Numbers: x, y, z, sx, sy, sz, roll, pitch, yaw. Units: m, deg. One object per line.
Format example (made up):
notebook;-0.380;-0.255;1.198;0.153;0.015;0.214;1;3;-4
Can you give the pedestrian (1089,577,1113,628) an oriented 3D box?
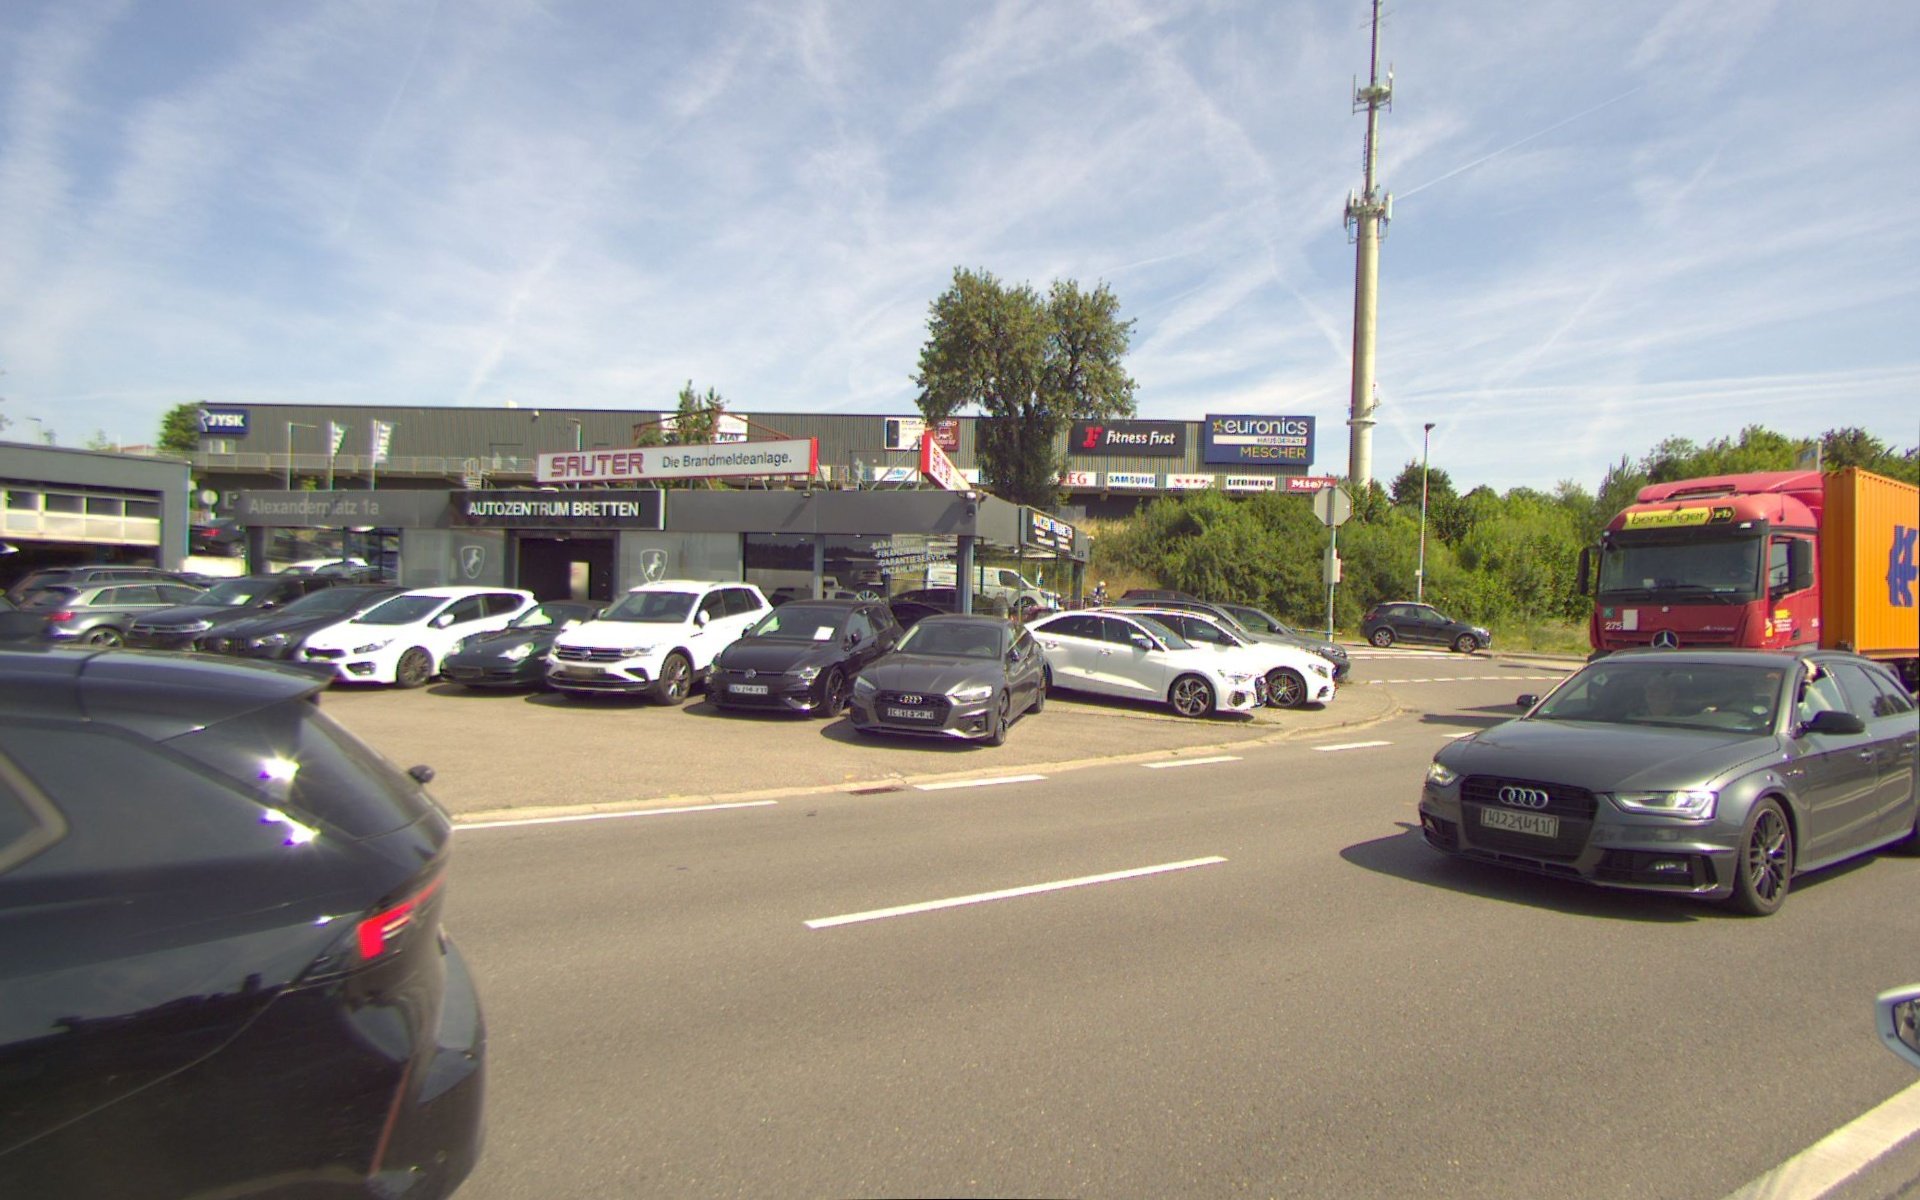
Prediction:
pedestrian;4.374;0.076;31.113;0.492;1.555;0.380;1;5;-42

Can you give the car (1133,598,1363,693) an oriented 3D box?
car;6.365;0.947;22.429;4.647;1.647;1.890;4;2;17

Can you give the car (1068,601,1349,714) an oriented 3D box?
car;4.476;0.949;18.137;4.623;1.533;1.955;4;2;20

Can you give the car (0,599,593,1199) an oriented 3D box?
car;-2.971;0.724;1.472;4.330;1.462;1.703;2;-3;-32

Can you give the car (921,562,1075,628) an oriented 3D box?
car;1.458;-0.222;37.985;5.404;2.069;2.069;4;2;16

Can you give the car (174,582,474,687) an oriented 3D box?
car;-10.887;0.493;17.620;1.779;1.544;4.345;2;1;16

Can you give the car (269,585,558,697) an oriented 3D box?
car;-8.785;0.560;16.598;1.791;1.544;4.144;2;1;16

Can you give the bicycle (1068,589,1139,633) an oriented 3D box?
bicycle;4.394;0.317;30.919;0.587;1.042;2.193;1;6;-42

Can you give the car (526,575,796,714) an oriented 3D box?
car;-4.382;0.550;15.554;1.855;1.772;4.470;2;1;16

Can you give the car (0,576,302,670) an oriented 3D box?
car;-15.405;0.365;19.348;1.855;1.544;4.344;2;1;19

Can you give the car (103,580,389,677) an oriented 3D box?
car;-12.972;0.438;18.590;1.774;1.544;4.099;2;1;16

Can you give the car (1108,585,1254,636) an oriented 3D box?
car;7.870;0.380;35.765;4.874;1.437;1.950;4;0;16

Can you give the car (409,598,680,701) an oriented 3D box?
car;-6.529;0.692;16.363;1.728;1.346;4.345;2;1;16

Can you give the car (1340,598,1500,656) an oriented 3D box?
car;15.304;0.855;33.702;4.543;1.548;1.916;4;2;16

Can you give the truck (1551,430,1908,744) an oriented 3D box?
truck;12.177;-0.097;15.764;5.995;4.051;2.704;2;-1;-34

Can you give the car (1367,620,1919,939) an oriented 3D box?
car;5.033;0.916;6.848;4.535;1.544;1.852;1;-1;-31

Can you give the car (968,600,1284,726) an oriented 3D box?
car;2.652;0.901;16.230;4.629;1.495;1.890;4;2;27

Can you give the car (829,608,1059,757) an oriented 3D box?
car;0.013;0.910;13.365;1.934;1.455;4.643;2;1;13

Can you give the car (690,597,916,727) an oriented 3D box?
car;-2.084;0.758;14.728;1.762;1.507;4.346;2;1;13

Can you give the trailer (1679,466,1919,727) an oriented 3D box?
trailer;18.528;0.085;20.141;12.109;4.051;2.703;2;-1;-34

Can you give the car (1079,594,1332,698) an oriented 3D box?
car;4.989;0.860;20.473;4.702;1.647;1.932;4;1;19
